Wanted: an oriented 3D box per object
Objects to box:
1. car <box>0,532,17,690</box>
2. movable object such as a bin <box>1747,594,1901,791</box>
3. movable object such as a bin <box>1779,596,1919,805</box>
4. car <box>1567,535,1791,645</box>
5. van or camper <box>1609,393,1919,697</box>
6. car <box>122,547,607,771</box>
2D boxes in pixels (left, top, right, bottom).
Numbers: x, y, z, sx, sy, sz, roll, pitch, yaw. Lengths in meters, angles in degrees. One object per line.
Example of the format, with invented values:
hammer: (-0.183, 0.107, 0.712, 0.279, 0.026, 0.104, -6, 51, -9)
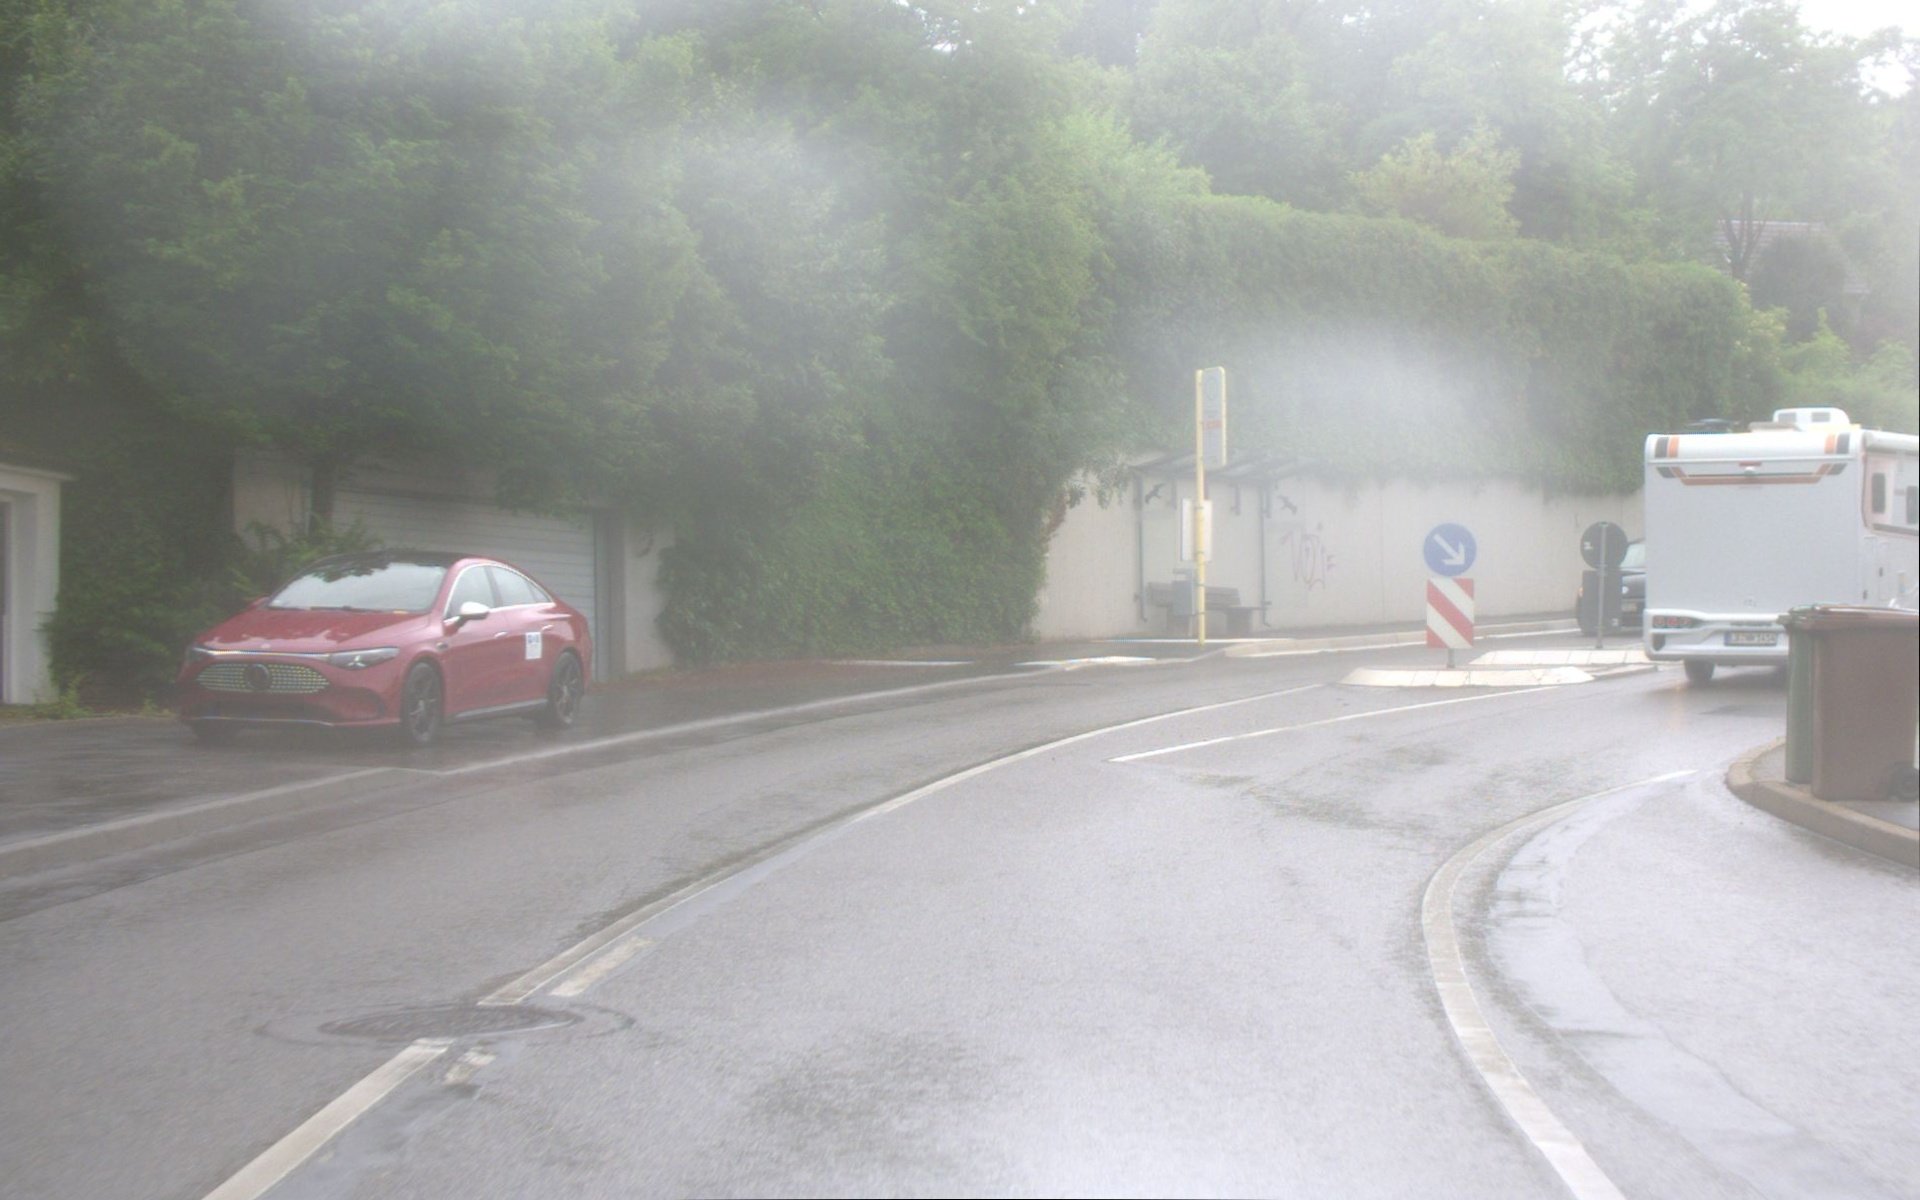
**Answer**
car: (-11.240, 0.133, 32.633, 3.989, 1.498, 1.878, -1, 1, 14)
movable object such as a bin: (5.099, 0.535, 20.319, 0.778, 1.129, 0.738, 0, 1, 5)
movable object such as a bin: (4.985, 0.544, 19.033, 0.778, 1.129, 0.738, 0, 1, 5)
car: (11.004, -0.174, 52.466, 1.730, 1.411, 3.992, -4, 0, 37)
van or camper: (9.203, -0.629, 37.561, 2.543, 2.915, 5.940, -4, 0, 26)
car: (-4.541, 0.383, 27.026, 1.995, 1.556, 4.650, 1, 1, 15)
